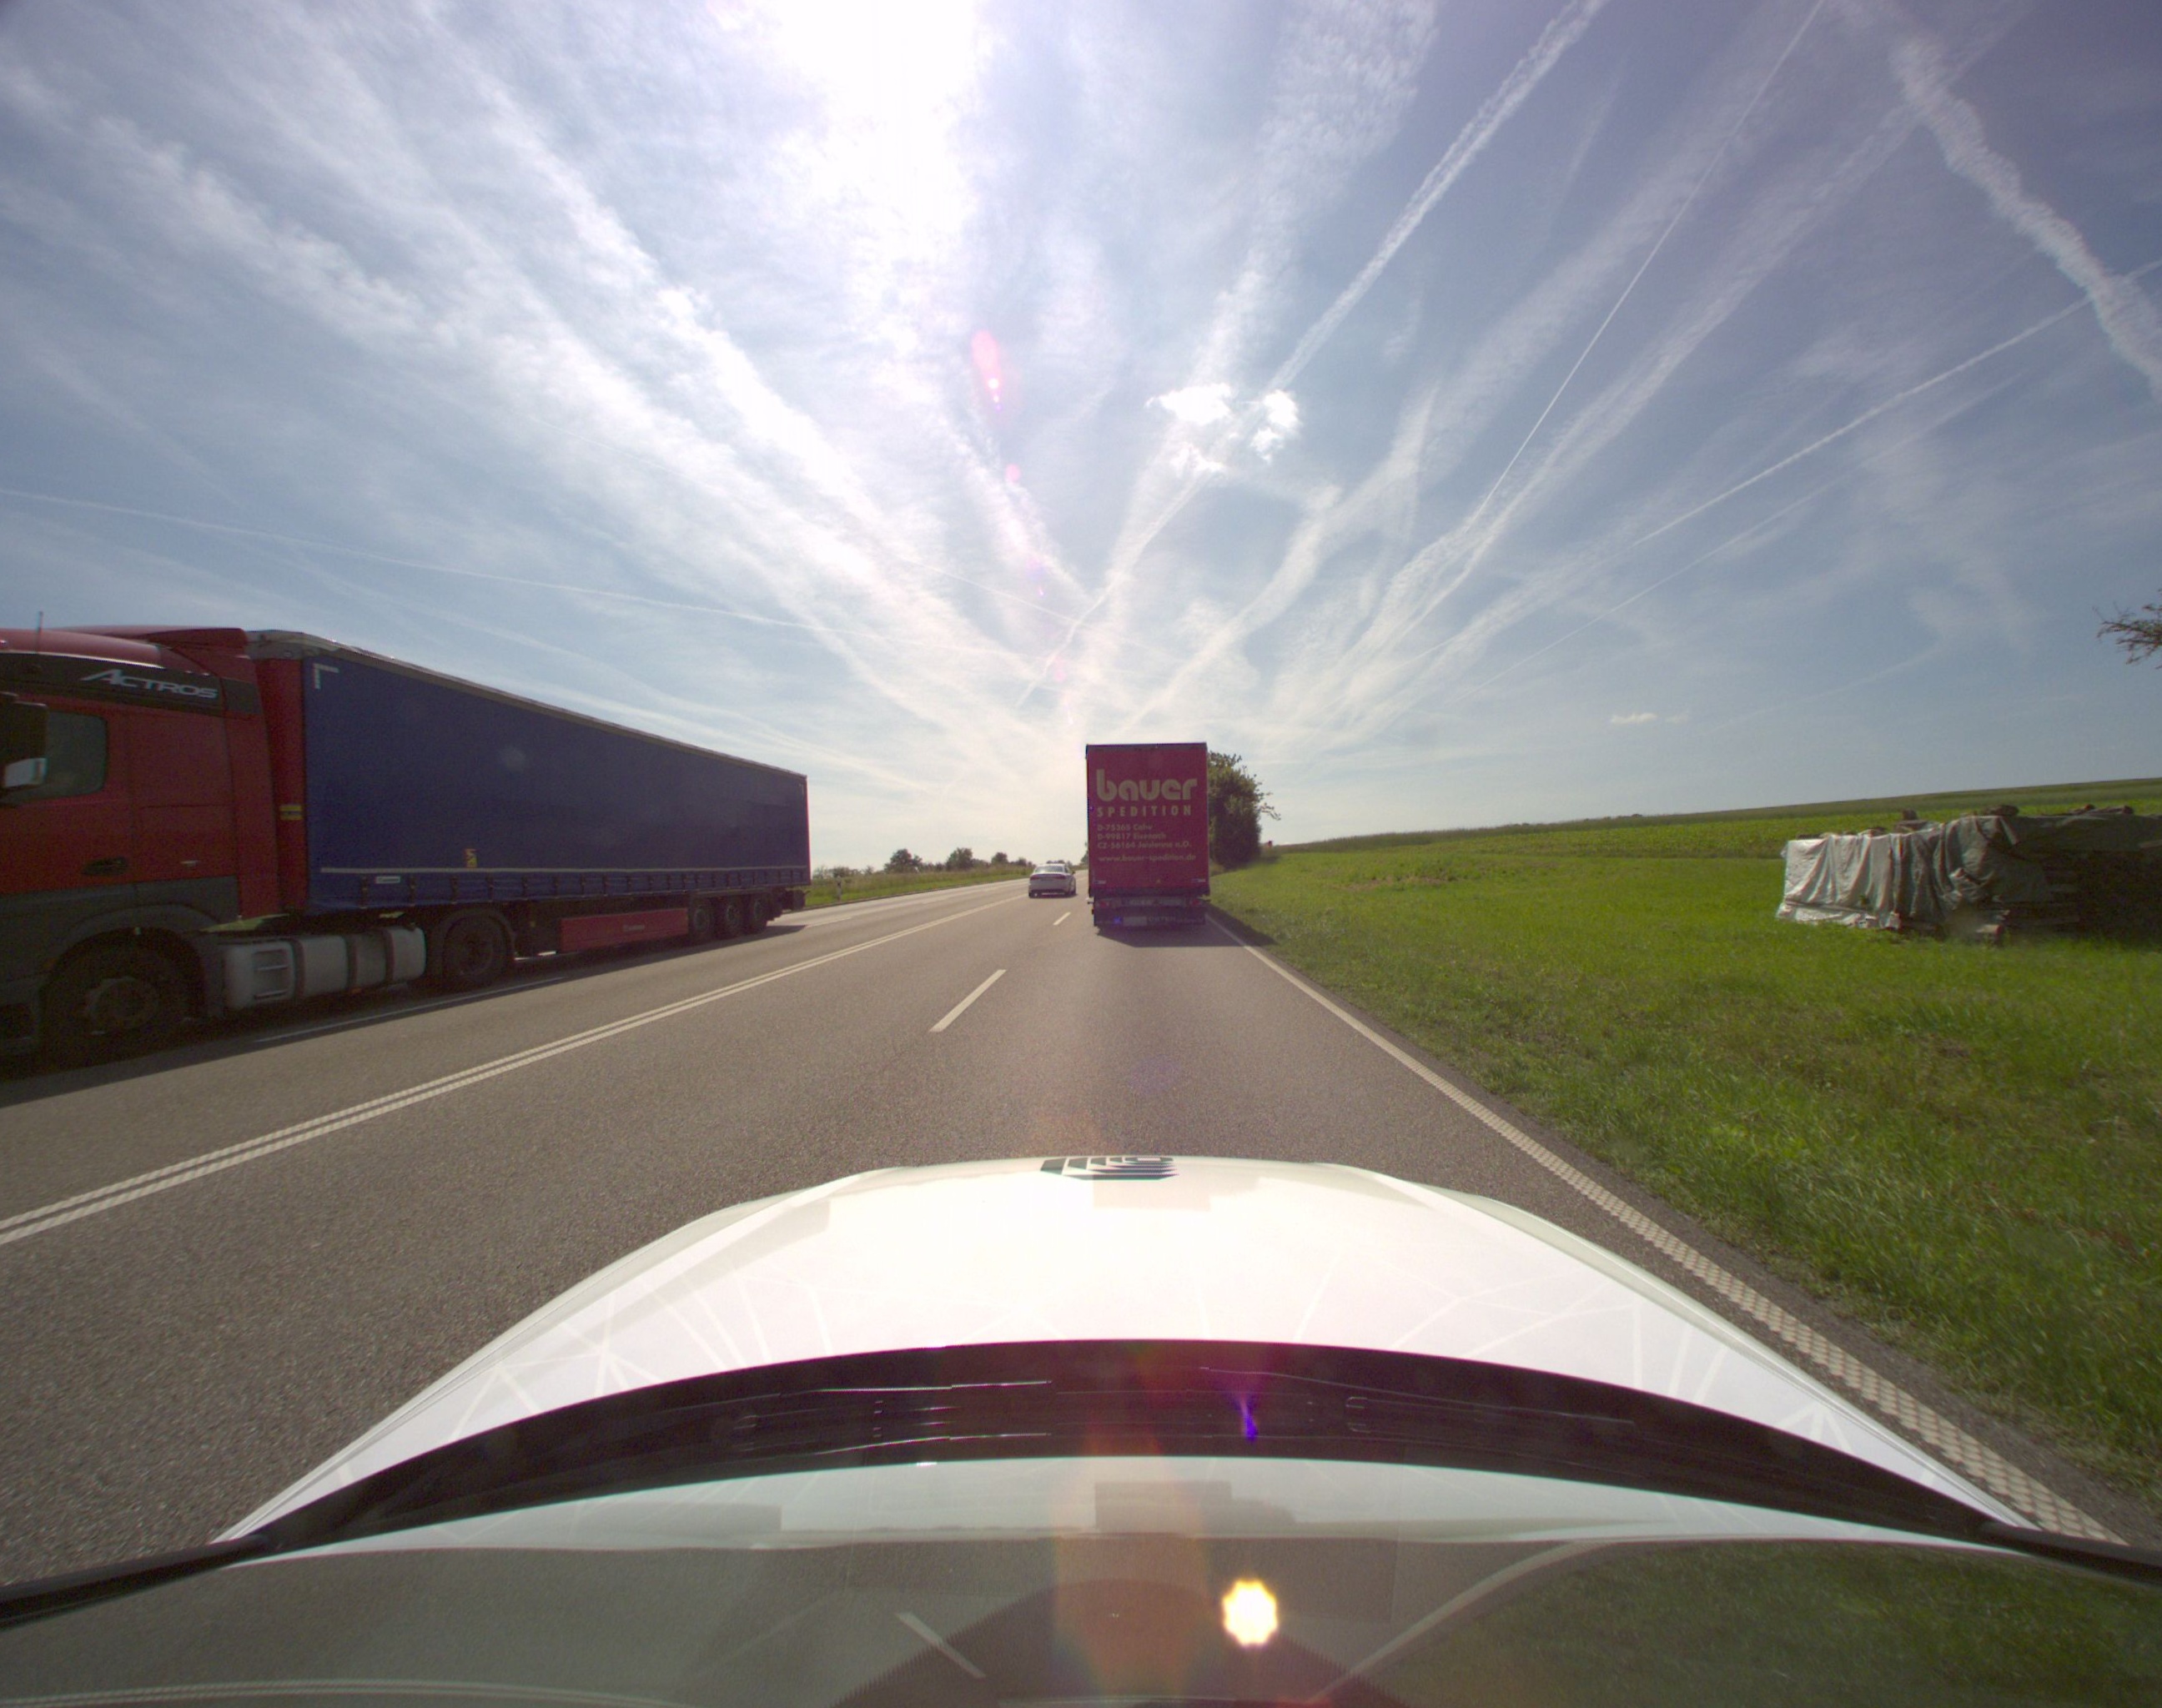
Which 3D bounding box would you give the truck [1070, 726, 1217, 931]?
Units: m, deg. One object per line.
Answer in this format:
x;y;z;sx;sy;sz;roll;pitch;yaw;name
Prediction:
1.584;-0.435;24.994;2.995;4.180;16.721;0;-1;2;truck

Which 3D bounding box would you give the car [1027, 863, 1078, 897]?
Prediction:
-1.170;1.087;35.556;1.695;1.376;4.608;-1;0;4;car

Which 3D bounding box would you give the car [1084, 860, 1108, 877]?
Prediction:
1.342;1.292;72.116;1.812;1.472;4.794;0;0;4;car

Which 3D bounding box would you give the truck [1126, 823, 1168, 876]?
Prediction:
5.680;-0.252;68.704;3.032;3.910;15.638;-1;-1;5;truck

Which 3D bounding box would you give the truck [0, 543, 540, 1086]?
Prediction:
-9.307;-0.249;8.712;2.606;4.102;6.093;-2;-1;3;truck

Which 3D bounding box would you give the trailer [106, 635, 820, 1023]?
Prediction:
-8.894;-0.224;15.597;2.534;4.102;13.595;-2;-1;3;trailer
